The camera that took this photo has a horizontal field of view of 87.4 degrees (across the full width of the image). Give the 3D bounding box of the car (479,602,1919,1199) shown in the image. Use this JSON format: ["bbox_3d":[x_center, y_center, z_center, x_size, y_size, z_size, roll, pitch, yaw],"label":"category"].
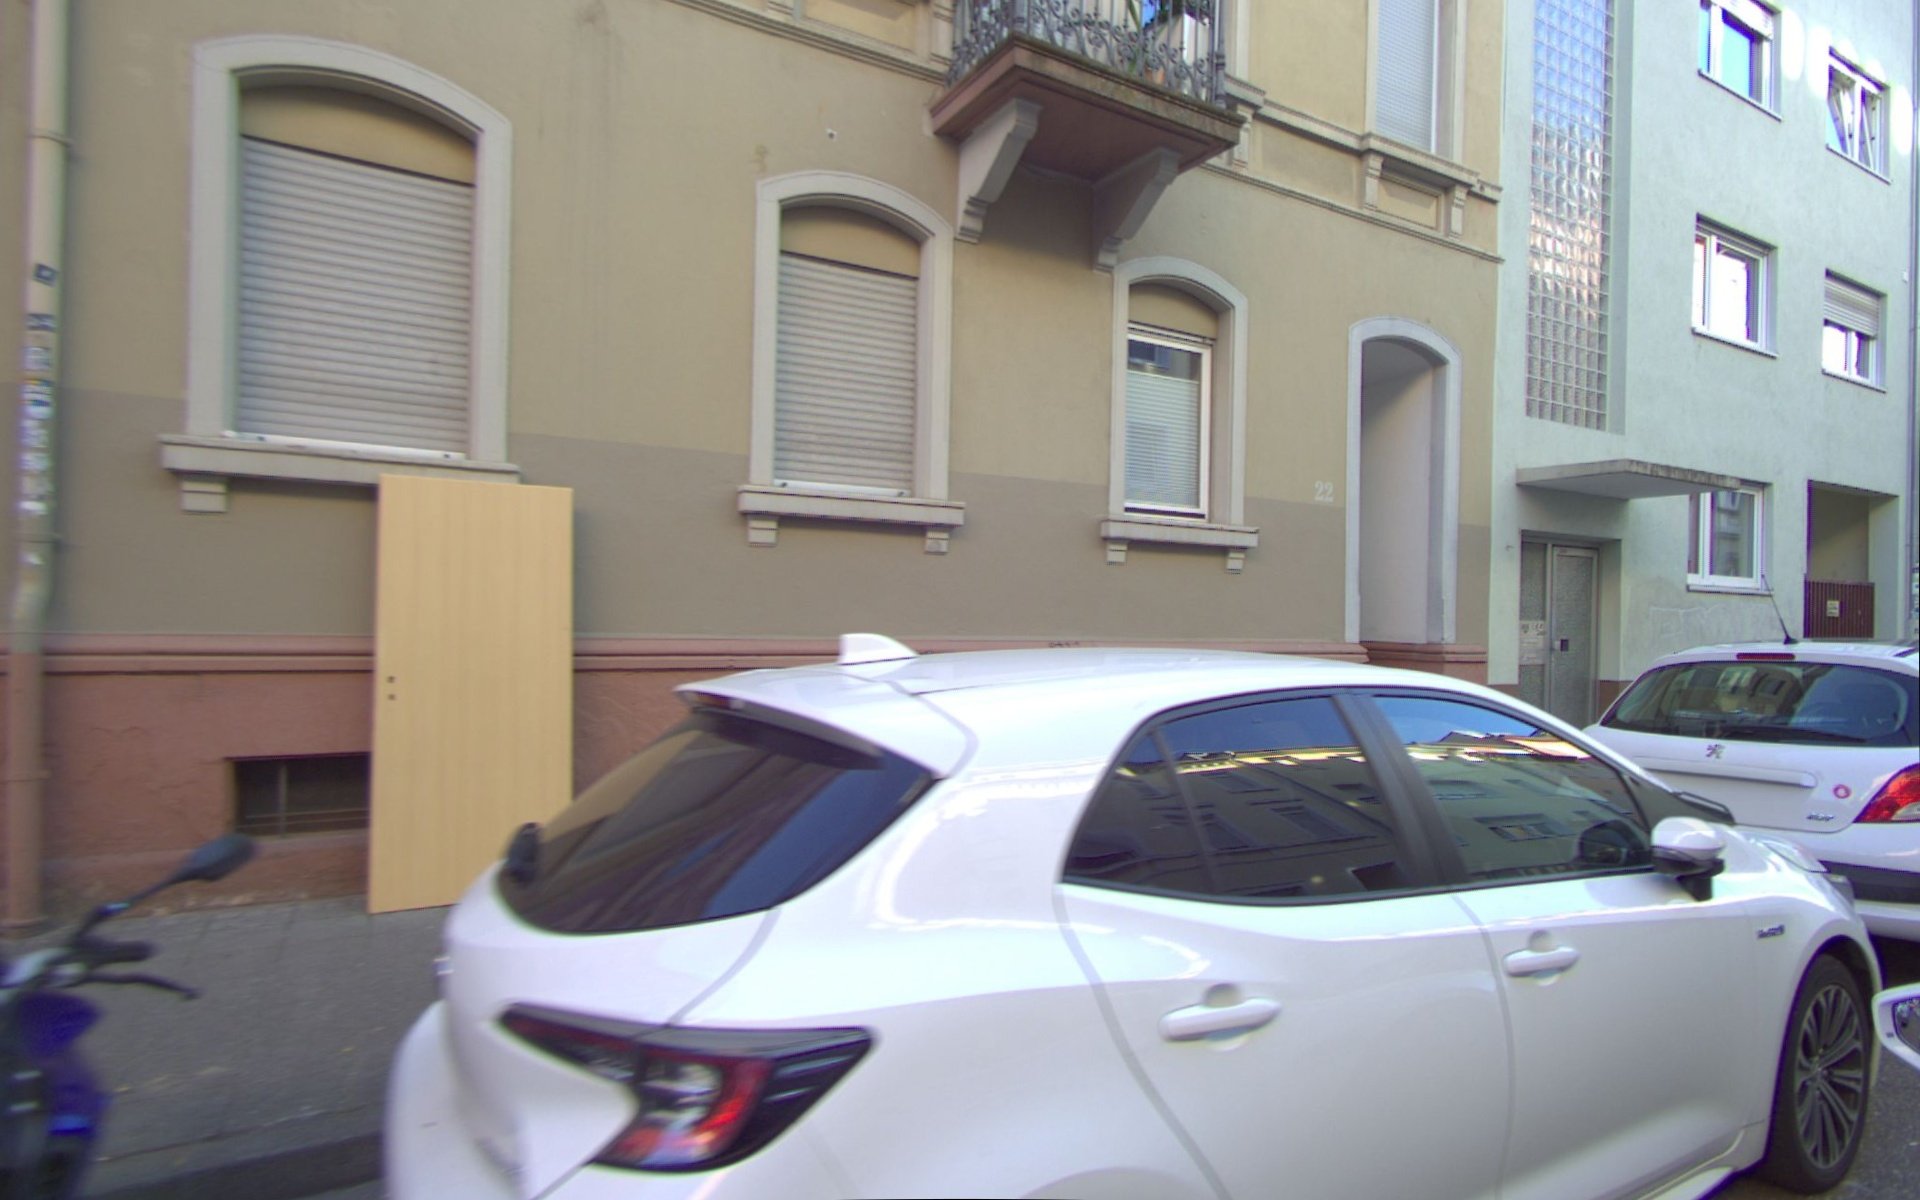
[{"bbox_3d":[1.007,0.810,2.865,4.152,1.481,1.779,1,-2,-31],"label":"car"}]

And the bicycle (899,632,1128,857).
[{"bbox_3d":[0.363,0.851,6.270,1.477,1.277,0.317,1,0,-30],"label":"bicycle"}]

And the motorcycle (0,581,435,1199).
[{"bbox_3d":[-1.696,0.725,1.650,1.939,1.499,0.819,2,1,41],"label":"motorcycle"}]

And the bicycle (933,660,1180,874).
[{"bbox_3d":[0.596,0.930,5.959,1.477,1.116,0.415,1,0,-30],"label":"bicycle"}]

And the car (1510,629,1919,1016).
[{"bbox_3d":[5.030,0.913,5.506,3.953,1.471,1.781,1,-2,-30],"label":"car"}]

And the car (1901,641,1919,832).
[{"bbox_3d":[9.525,1.066,7.997,3.980,1.474,1.675,1,-2,-26],"label":"car"}]
